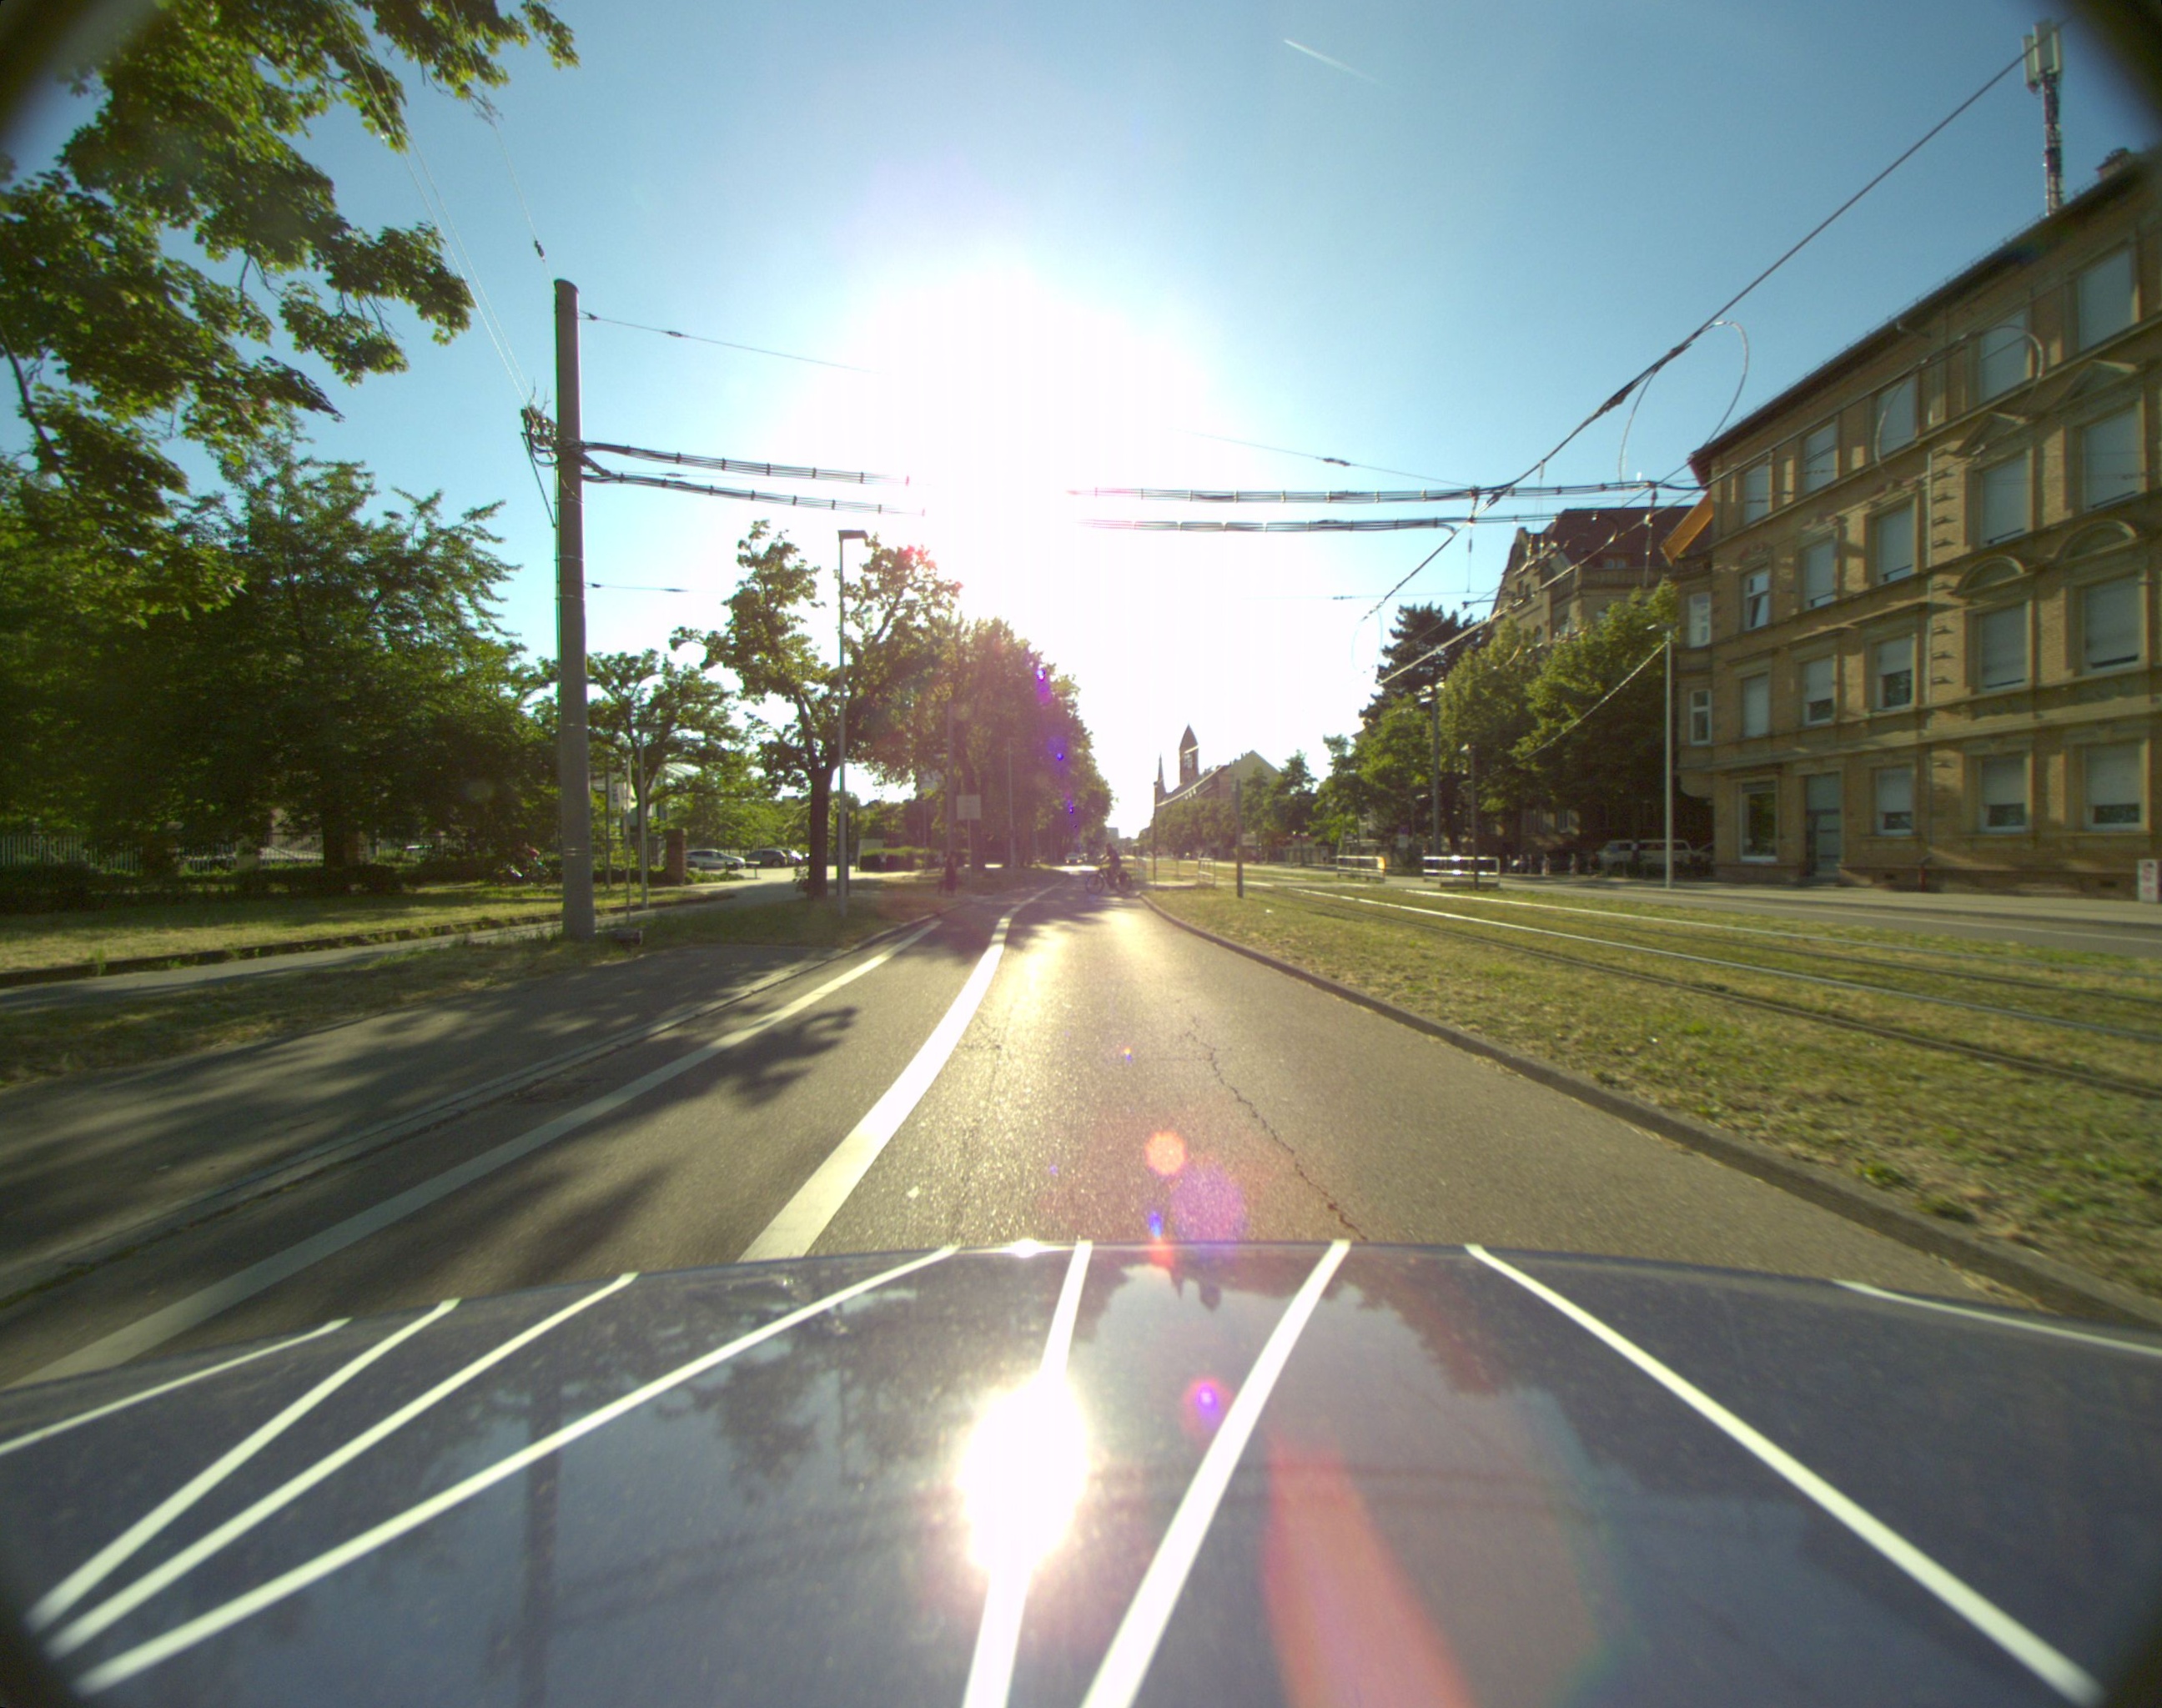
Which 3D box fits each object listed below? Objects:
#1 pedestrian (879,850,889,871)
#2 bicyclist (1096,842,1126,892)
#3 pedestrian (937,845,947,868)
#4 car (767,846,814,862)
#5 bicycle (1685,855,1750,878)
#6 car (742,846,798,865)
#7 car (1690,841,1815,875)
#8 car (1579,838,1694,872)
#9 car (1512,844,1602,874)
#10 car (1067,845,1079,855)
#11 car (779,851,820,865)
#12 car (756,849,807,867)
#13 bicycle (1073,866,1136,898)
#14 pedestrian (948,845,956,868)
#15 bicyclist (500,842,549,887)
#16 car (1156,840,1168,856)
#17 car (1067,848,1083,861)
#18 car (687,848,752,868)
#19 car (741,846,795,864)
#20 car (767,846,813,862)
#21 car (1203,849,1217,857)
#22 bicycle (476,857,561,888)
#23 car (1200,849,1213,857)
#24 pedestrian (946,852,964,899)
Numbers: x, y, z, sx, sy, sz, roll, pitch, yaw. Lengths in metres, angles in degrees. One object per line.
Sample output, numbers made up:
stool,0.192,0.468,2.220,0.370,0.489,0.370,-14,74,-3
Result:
pedestrian,-13.122,0.435,50.589,0.550,1.434,0.513,0,1,-1
bicyclist,1.051,0.452,26.931,0.747,1.704,0.721,-3,1,-23
pedestrian,-11.063,0.164,60.459,0.645,1.830,0.565,0,1,0
car,-29.269,0.011,76.660,4.393,1.616,1.797,0,1,-20
bicycle,27.987,0.536,33.438,0.712,0.904,2.079,-3,1,-21
car,-26.611,0.114,65.179,4.393,1.616,1.797,0,1,-20
car,38.342,0.196,43.527,2.026,1.814,5.057,-3,2,-34
car,31.775,0.062,43.692,5.058,1.814,2.026,-1,2,27
car,26.587,0.279,42.594,3.991,1.502,1.802,-2,1,23
car,-1.244,-0.616,120.417,1.798,1.501,4.000,-3,0,2
car,-32.262,0.478,87.244,4.393,1.616,1.797,0,1,-20
car,-27.864,0.351,70.814,4.393,1.616,1.797,0,1,-20
bicycle,0.844,0.978,26.857,2.065,0.973,0.721,-3,1,-23
pedestrian,-10.273,0.178,60.464,0.502,1.830,0.565,0,1,0
bicyclist,-19.360,0.369,26.459,1.207,1.531,0.618,1,1,-13
car,14.270,-1.087,134.717,1.798,2.766,4.000,0,1,1
car,-0.739,0.064,98.764,1.798,1.501,4.000,-3,0,2
car,-26.709,0.275,56.280,4.153,1.501,1.797,0,1,-17
car,-27.962,0.089,68.115,4.393,1.616,1.797,0,1,-20
car,-30.215,0.012,79.046,4.393,1.616,1.797,0,1,-20
car,22.936,-0.188,134.801,1.799,1.501,4.000,0,0,0
bicycle,-19.528,0.651,26.426,2.291,1.050,0.618,1,0,-13
car,23.974,-0.200,145.226,1.799,1.501,4.000,0,0,0
pedestrian,-4.475,0.749,26.998,0.532,1.653,0.486,1,0,-21
